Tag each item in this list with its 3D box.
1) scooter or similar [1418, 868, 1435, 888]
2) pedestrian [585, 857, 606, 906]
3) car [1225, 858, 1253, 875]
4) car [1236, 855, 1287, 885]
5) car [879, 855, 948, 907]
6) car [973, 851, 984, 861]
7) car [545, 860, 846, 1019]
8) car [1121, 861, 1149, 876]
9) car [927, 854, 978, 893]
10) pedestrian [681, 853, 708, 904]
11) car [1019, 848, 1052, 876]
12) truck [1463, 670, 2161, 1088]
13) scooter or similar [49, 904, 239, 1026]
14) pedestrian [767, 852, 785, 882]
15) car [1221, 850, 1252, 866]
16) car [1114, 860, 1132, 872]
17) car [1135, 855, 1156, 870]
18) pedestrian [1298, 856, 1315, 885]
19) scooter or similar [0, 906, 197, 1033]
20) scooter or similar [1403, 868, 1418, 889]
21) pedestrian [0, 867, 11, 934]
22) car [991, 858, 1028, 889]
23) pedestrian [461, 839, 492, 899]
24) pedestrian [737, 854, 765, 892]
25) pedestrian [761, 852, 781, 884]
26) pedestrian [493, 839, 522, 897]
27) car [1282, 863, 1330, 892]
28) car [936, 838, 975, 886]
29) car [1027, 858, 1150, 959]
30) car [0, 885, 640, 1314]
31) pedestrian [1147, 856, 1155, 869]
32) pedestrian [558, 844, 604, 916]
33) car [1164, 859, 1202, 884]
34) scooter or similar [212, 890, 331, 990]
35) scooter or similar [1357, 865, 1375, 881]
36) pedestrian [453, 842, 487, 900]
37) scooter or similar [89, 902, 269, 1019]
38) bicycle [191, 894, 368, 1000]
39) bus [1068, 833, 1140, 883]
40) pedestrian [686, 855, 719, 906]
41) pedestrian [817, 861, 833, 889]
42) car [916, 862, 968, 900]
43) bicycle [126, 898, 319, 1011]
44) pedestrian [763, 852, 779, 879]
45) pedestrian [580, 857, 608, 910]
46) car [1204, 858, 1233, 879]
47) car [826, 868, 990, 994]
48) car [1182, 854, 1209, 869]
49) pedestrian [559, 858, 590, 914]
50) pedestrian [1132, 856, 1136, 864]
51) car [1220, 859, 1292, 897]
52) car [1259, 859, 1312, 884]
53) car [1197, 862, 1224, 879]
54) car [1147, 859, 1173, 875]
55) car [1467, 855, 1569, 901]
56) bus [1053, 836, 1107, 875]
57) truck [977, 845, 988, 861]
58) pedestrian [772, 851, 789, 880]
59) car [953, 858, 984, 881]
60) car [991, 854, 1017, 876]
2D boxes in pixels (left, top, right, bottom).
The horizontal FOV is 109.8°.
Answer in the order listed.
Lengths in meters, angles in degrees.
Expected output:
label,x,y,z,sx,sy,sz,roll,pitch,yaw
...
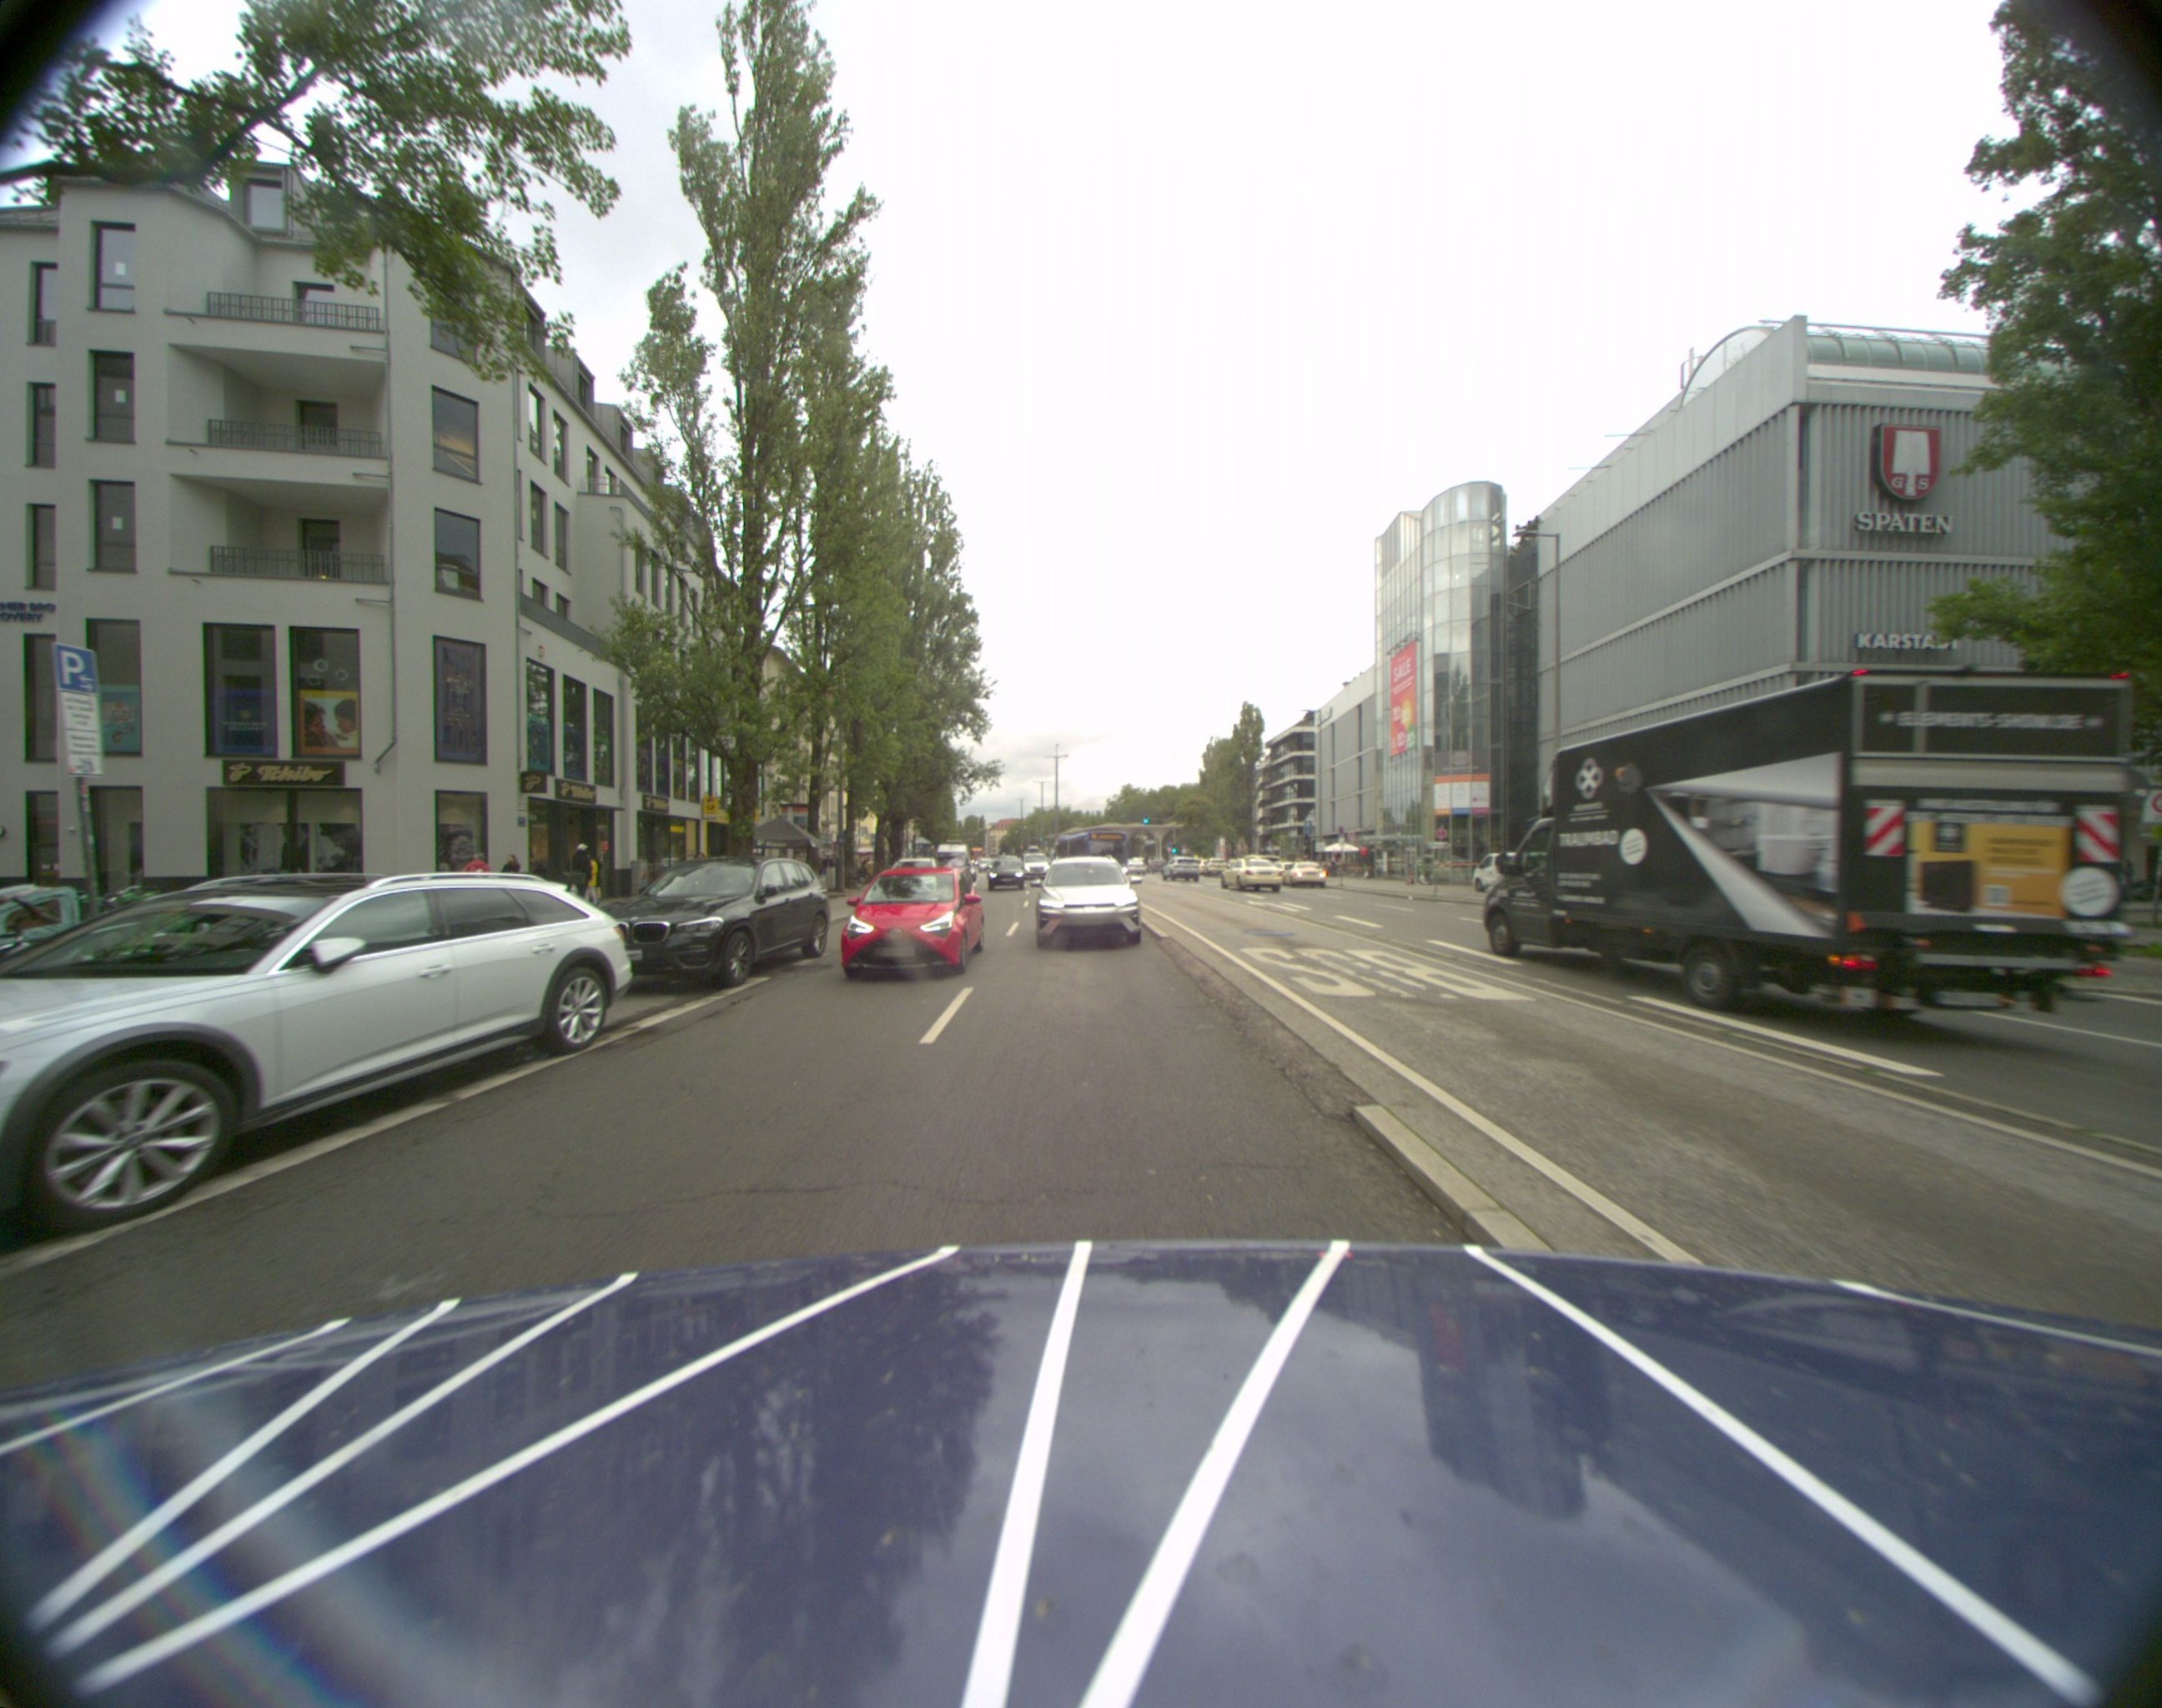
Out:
label,x,y,z,sx,sy,sz,roll,pitch,yaw
scooter or similar,20.683,1.440,45.489,0.255,1.166,0.995,0,0,-22
pedestrian,-15.918,0.879,24.925,0.566,1.567,0.675,0,1,-31
car,14.901,1.135,71.746,1.756,1.527,4.000,0,0,0
car,13.052,1.103,55.262,1.999,2.002,5.319,1,0,-5
car,-5.899,0.891,27.215,1.732,1.676,4.406,-1,0,-4
car,-17.427,0.278,129.049,1.860,1.696,3.997,0,0,-7
car,-5.178,1.013,11.122,1.929,1.690,4.649,-2,1,1
car,5.053,1.346,71.748,1.805,1.386,4.687,0,0,-7
car,-6.427,0.913,38.481,1.934,1.794,4.778,-2,0,-3
pedestrian,-13.294,0.831,26.132,0.670,1.715,0.768,0,1,-15
car,-3.297,0.549,54.896,2.000,1.889,4.232,-2,1,-8
truck,7.680,0.192,9.644,2.296,3.303,7.158,1,0,3
scooter or similar,-9.558,1.120,7.772,1.438,1.194,0.311,0,1,-4
pedestrian,-16.276,0.689,40.512,0.684,1.549,0.750,1,0,-6
car,15.671,0.434,76.717,1.912,1.557,3.997,0,0,-7
car,5.408,1.535,97.616,1.734,1.401,4.686,0,0,-5
car,7.224,0.950,85.192,1.958,1.580,3.999,0,0,-2
pedestrian,14.685,1.070,49.558,0.788,1.856,0.846,2,2,-1
scooter or similar,-9.696,1.128,7.512,1.438,1.194,0.311,0,1,-4
scooter or similar,19.700,1.457,45.475,0.255,1.217,0.996,0,0,-15
pedestrian,-25.670,1.105,17.747,0.506,1.571,0.552,-1,1,9
car,-3.701,0.959,38.645,1.741,1.461,4.048,-1,0,-7
pedestrian,-16.725,0.413,21.028,0.550,1.615,0.506,-2,2,-31
pedestrian,-14.295,0.824,32.917,0.802,1.627,1.023,0,0,-5
pedestrian,-15.246,0.677,37.382,0.684,1.549,0.750,1,0,-6
pedestrian,-16.411,0.401,21.743,0.547,1.615,0.508,0,2,41
car,12.817,1.315,43.558,1.860,1.461,4.985,2,0,7
car,-7.643,0.451,46.868,2.000,2.726,5.550,-2,1,-6
car,-0.017,0.870,14.030,1.897,1.483,3.998,-2,1,-5
car,-5.113,1.051,4.786,1.815,1.491,4.806,0,0,1
pedestrian,8.979,1.083,97.782,0.640,1.542,0.759,-3,2,-33
pedestrian,-13.636,0.695,20.740,0.648,1.913,0.926,1,0,-4
car,6.909,1.145,51.975,1.915,1.593,4.354,0,0,-2
scooter or similar,-10.204,1.075,9.598,1.053,1.219,0.379,0,0,-3
scooter or similar,21.251,1.400,56.640,0.368,1.133,1.378,0,0,-27
pedestrian,-17.267,0.473,21.471,0.506,1.615,0.550,-1,2,34
scooter or similar,-9.589,1.116,8.095,1.438,1.194,0.311,0,1,-4
bicycle,-9.596,1.099,9.130,1.482,1.200,0.535,0,0,-4
bus,1.298,0.162,50.897,2.943,2.927,11.204,-1,1,-8
pedestrian,-12.491,0.862,25.116,0.716,1.666,0.783,1,0,-4
pedestrian,-12.273,1.005,36.411,0.597,1.334,0.391,-2,2,-29
car,-5.991,1.115,33.230,1.776,1.425,4.569,-2,0,-5
bicycle,-9.619,1.107,8.547,1.482,1.200,0.535,0,0,-4
pedestrian,-18.275,0.681,44.795,0.693,1.576,0.772,0,0,-8
pedestrian,-14.967,0.901,23.339,0.491,1.625,0.569,0,1,-1
car,11.963,1.256,66.409,1.889,1.688,4.384,1,0,3
car,-2.396,1.002,11.384,1.669,1.438,3.595,-2,1,-1
car,11.920,0.758,79.337,1.592,1.602,4.473,0,0,-8
pedestrian,-14.306,0.907,21.471,0.491,1.558,0.569,0,1,-1
pedestrian,9.004,0.968,129.250,0.550,1.330,0.591,0,0,-9
car,8.201,1.087,36.141,1.999,1.579,5.194,1,0,-2
car,13.259,1.089,49.517,1.983,1.543,5.085,0,0,-2
car,12.297,1.546,72.365,1.951,1.531,4.848,0,0,2
car,7.825,1.268,75.505,1.789,1.457,3.998,0,0,-5
car,20.618,1.063,36.145,1.998,2.002,5.113,0,0,2
bus,-0.278,0.058,62.744,2.943,2.927,11.204,-1,1,-8
truck,-22.947,-0.201,176.590,2.542,3.468,7.746,1,0,-8
pedestrian,-17.452,0.667,44.135,0.693,1.639,0.797,0,0,-8
car,-7.828,1.054,53.280,1.730,1.445,4.145,-3,0,-4
car,-6.710,0.938,65.792,2.000,1.740,3.997,-2,1,-8
